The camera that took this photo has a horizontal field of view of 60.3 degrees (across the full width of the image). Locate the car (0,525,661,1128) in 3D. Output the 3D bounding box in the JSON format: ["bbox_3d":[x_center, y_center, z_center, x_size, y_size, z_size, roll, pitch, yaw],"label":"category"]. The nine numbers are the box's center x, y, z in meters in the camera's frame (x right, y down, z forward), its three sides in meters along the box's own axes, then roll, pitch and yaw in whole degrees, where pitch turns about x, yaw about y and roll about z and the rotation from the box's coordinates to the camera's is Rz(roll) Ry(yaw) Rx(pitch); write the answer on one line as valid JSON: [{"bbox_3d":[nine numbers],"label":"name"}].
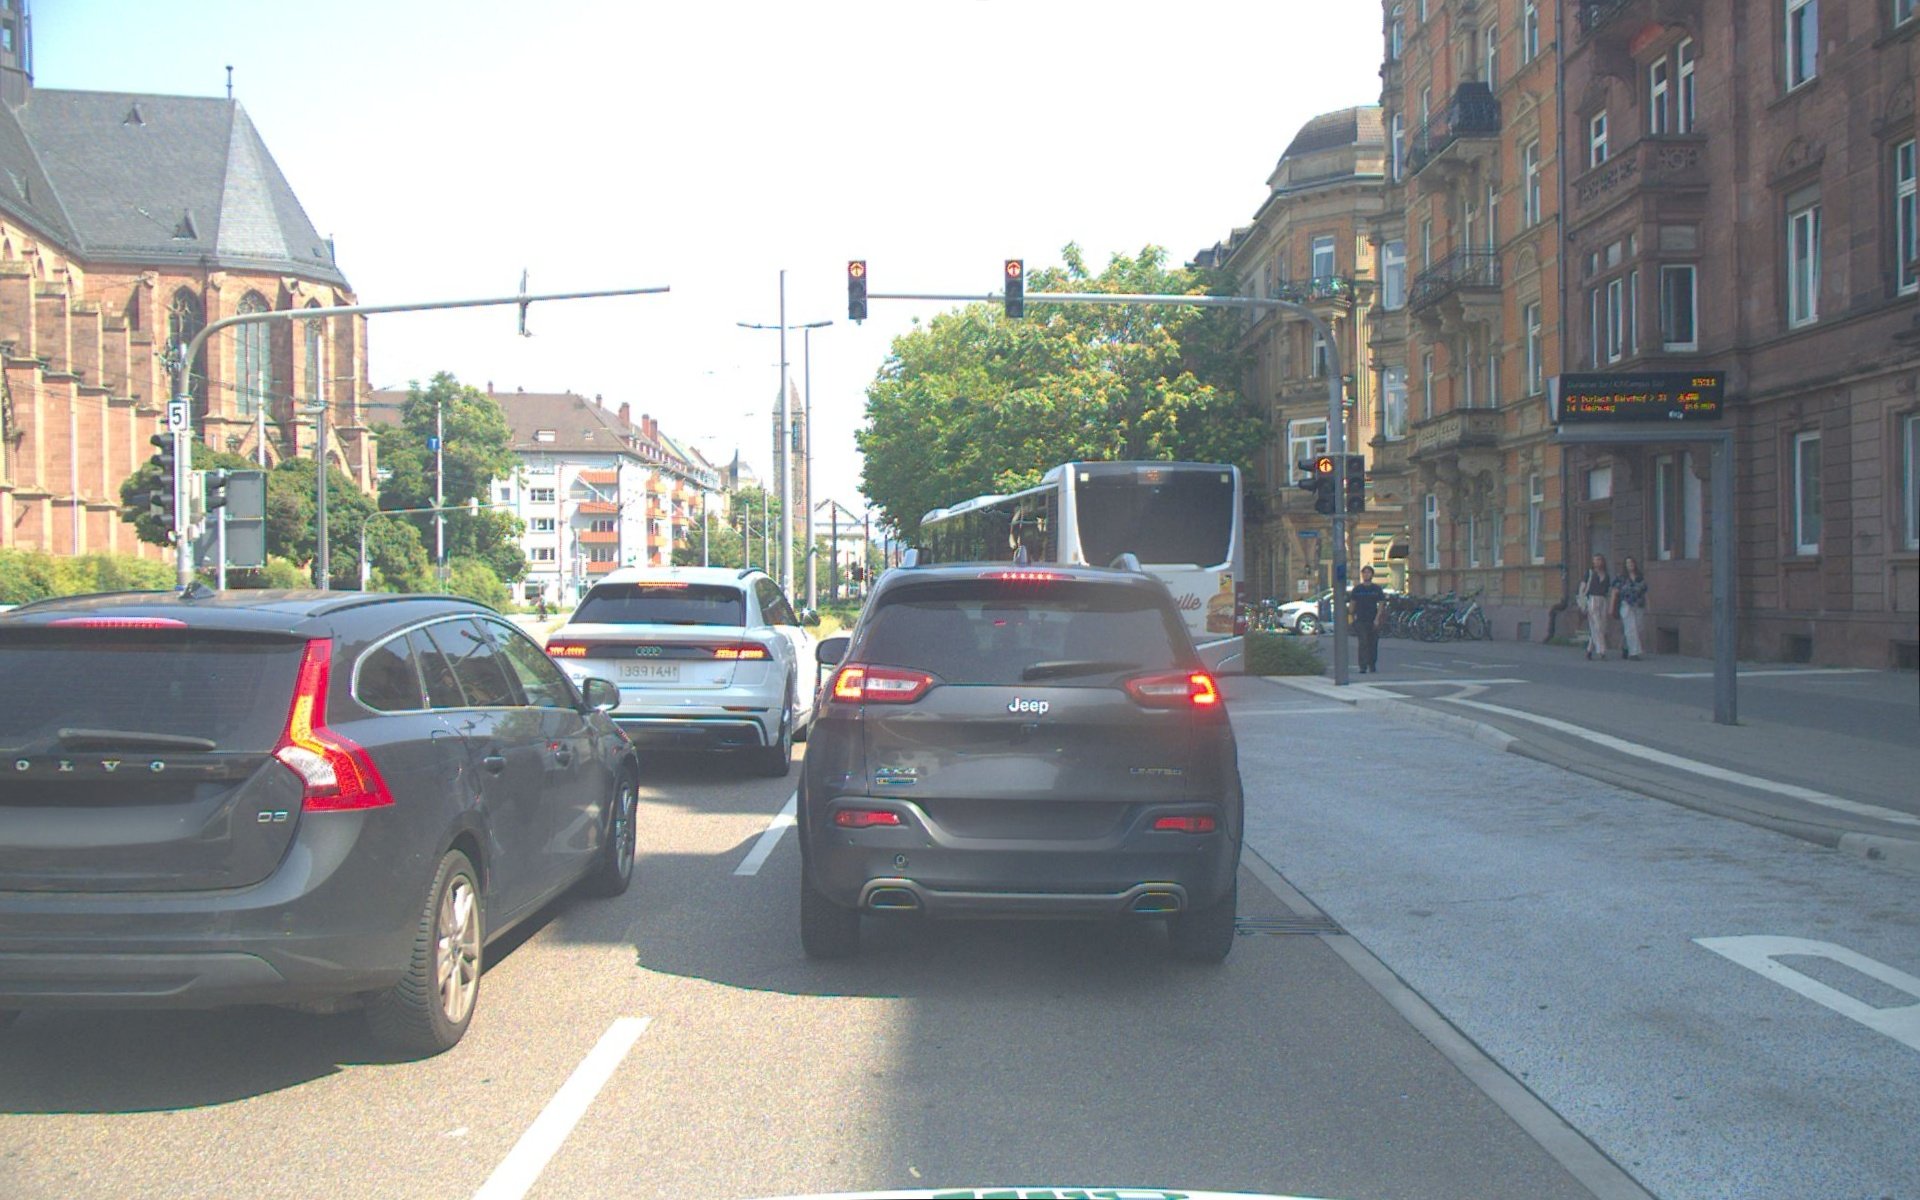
[{"bbox_3d":[-2.436,0.604,6.669,1.712,1.642,4.308,1,0,-1],"label":"car"}]

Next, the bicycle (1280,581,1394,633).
[{"bbox_3d":[10.550,0.193,46.337,2.943,1.397,0.947,-1,0,-2],"label":"bicycle"}]

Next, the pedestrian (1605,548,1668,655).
[{"bbox_3d":[11.653,0.017,28.507,0.700,1.809,0.870,-1,0,-2],"label":"pedestrian"}]

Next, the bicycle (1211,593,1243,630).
[{"bbox_3d":[9.452,0.391,58.593,0.717,1.275,3.014,-1,0,2],"label":"bicycle"}]

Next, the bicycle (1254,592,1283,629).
[{"bbox_3d":[11.007,0.361,59.065,0.644,1.271,2.413,-1,0,2],"label":"bicycle"}]

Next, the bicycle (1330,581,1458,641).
[{"bbox_3d":[10.729,0.266,40.931,2.933,1.395,0.871,-1,0,-2],"label":"bicycle"}]

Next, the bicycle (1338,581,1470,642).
[{"bbox_3d":[10.719,0.274,39.984,2.933,1.395,0.871,-1,0,-2],"label":"bicycle"}]

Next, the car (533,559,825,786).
[{"bbox_3d":[-2.267,0.522,14.481,1.863,1.680,4.308,0,0,-1],"label":"car"}]

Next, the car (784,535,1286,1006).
[{"bbox_3d":[0.285,0.599,8.121,1.795,1.680,4.308,1,0,0],"label":"car"}]

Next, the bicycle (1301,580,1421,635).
[{"bbox_3d":[10.659,0.202,43.979,2.943,1.397,0.947,-1,0,-2],"label":"bicycle"}]

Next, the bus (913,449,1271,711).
[{"bbox_3d":[1.527,-0.226,26.734,2.694,3.161,11.925,-3,0,-10],"label":"bus"}]

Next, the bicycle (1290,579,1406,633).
[{"bbox_3d":[10.603,0.166,45.296,2.943,1.397,0.947,-1,0,-2],"label":"bicycle"}]

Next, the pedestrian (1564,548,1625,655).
[{"bbox_3d":[10.939,0.029,28.545,0.700,1.807,0.847,-1,0,-2],"label":"pedestrian"}]

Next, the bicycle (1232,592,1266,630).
[{"bbox_3d":[10.225,0.377,58.619,0.747,1.275,3.014,-1,0,2],"label":"bicycle"}]

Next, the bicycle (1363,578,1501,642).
[{"bbox_3d":[10.874,0.221,38.167,2.933,1.395,0.871,-1,0,-2],"label":"bicycle"}]

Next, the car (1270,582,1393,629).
[{"bbox_3d":[12.939,0.187,57.678,3.858,1.547,1.680,-1,0,-8],"label":"car"}]

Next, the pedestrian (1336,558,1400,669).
[{"bbox_3d":[6.746,0.223,27.391,0.879,1.771,0.769,-2,0,6],"label":"pedestrian"}]

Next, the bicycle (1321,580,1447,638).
[{"bbox_3d":[10.716,0.223,41.875,2.943,1.397,0.947,-1,0,-2],"label":"bicycle"}]

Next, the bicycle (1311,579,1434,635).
[{"bbox_3d":[10.711,0.172,42.970,2.943,1.397,0.947,-1,0,-2],"label":"bicycle"}]

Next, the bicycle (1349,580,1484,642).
[{"bbox_3d":[10.770,0.261,39.072,2.933,1.395,0.871,-1,0,-2],"label":"bicycle"}]

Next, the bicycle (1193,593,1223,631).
[{"bbox_3d":[8.767,0.401,58.584,0.636,1.275,3.014,-1,0,1],"label":"bicycle"}]
